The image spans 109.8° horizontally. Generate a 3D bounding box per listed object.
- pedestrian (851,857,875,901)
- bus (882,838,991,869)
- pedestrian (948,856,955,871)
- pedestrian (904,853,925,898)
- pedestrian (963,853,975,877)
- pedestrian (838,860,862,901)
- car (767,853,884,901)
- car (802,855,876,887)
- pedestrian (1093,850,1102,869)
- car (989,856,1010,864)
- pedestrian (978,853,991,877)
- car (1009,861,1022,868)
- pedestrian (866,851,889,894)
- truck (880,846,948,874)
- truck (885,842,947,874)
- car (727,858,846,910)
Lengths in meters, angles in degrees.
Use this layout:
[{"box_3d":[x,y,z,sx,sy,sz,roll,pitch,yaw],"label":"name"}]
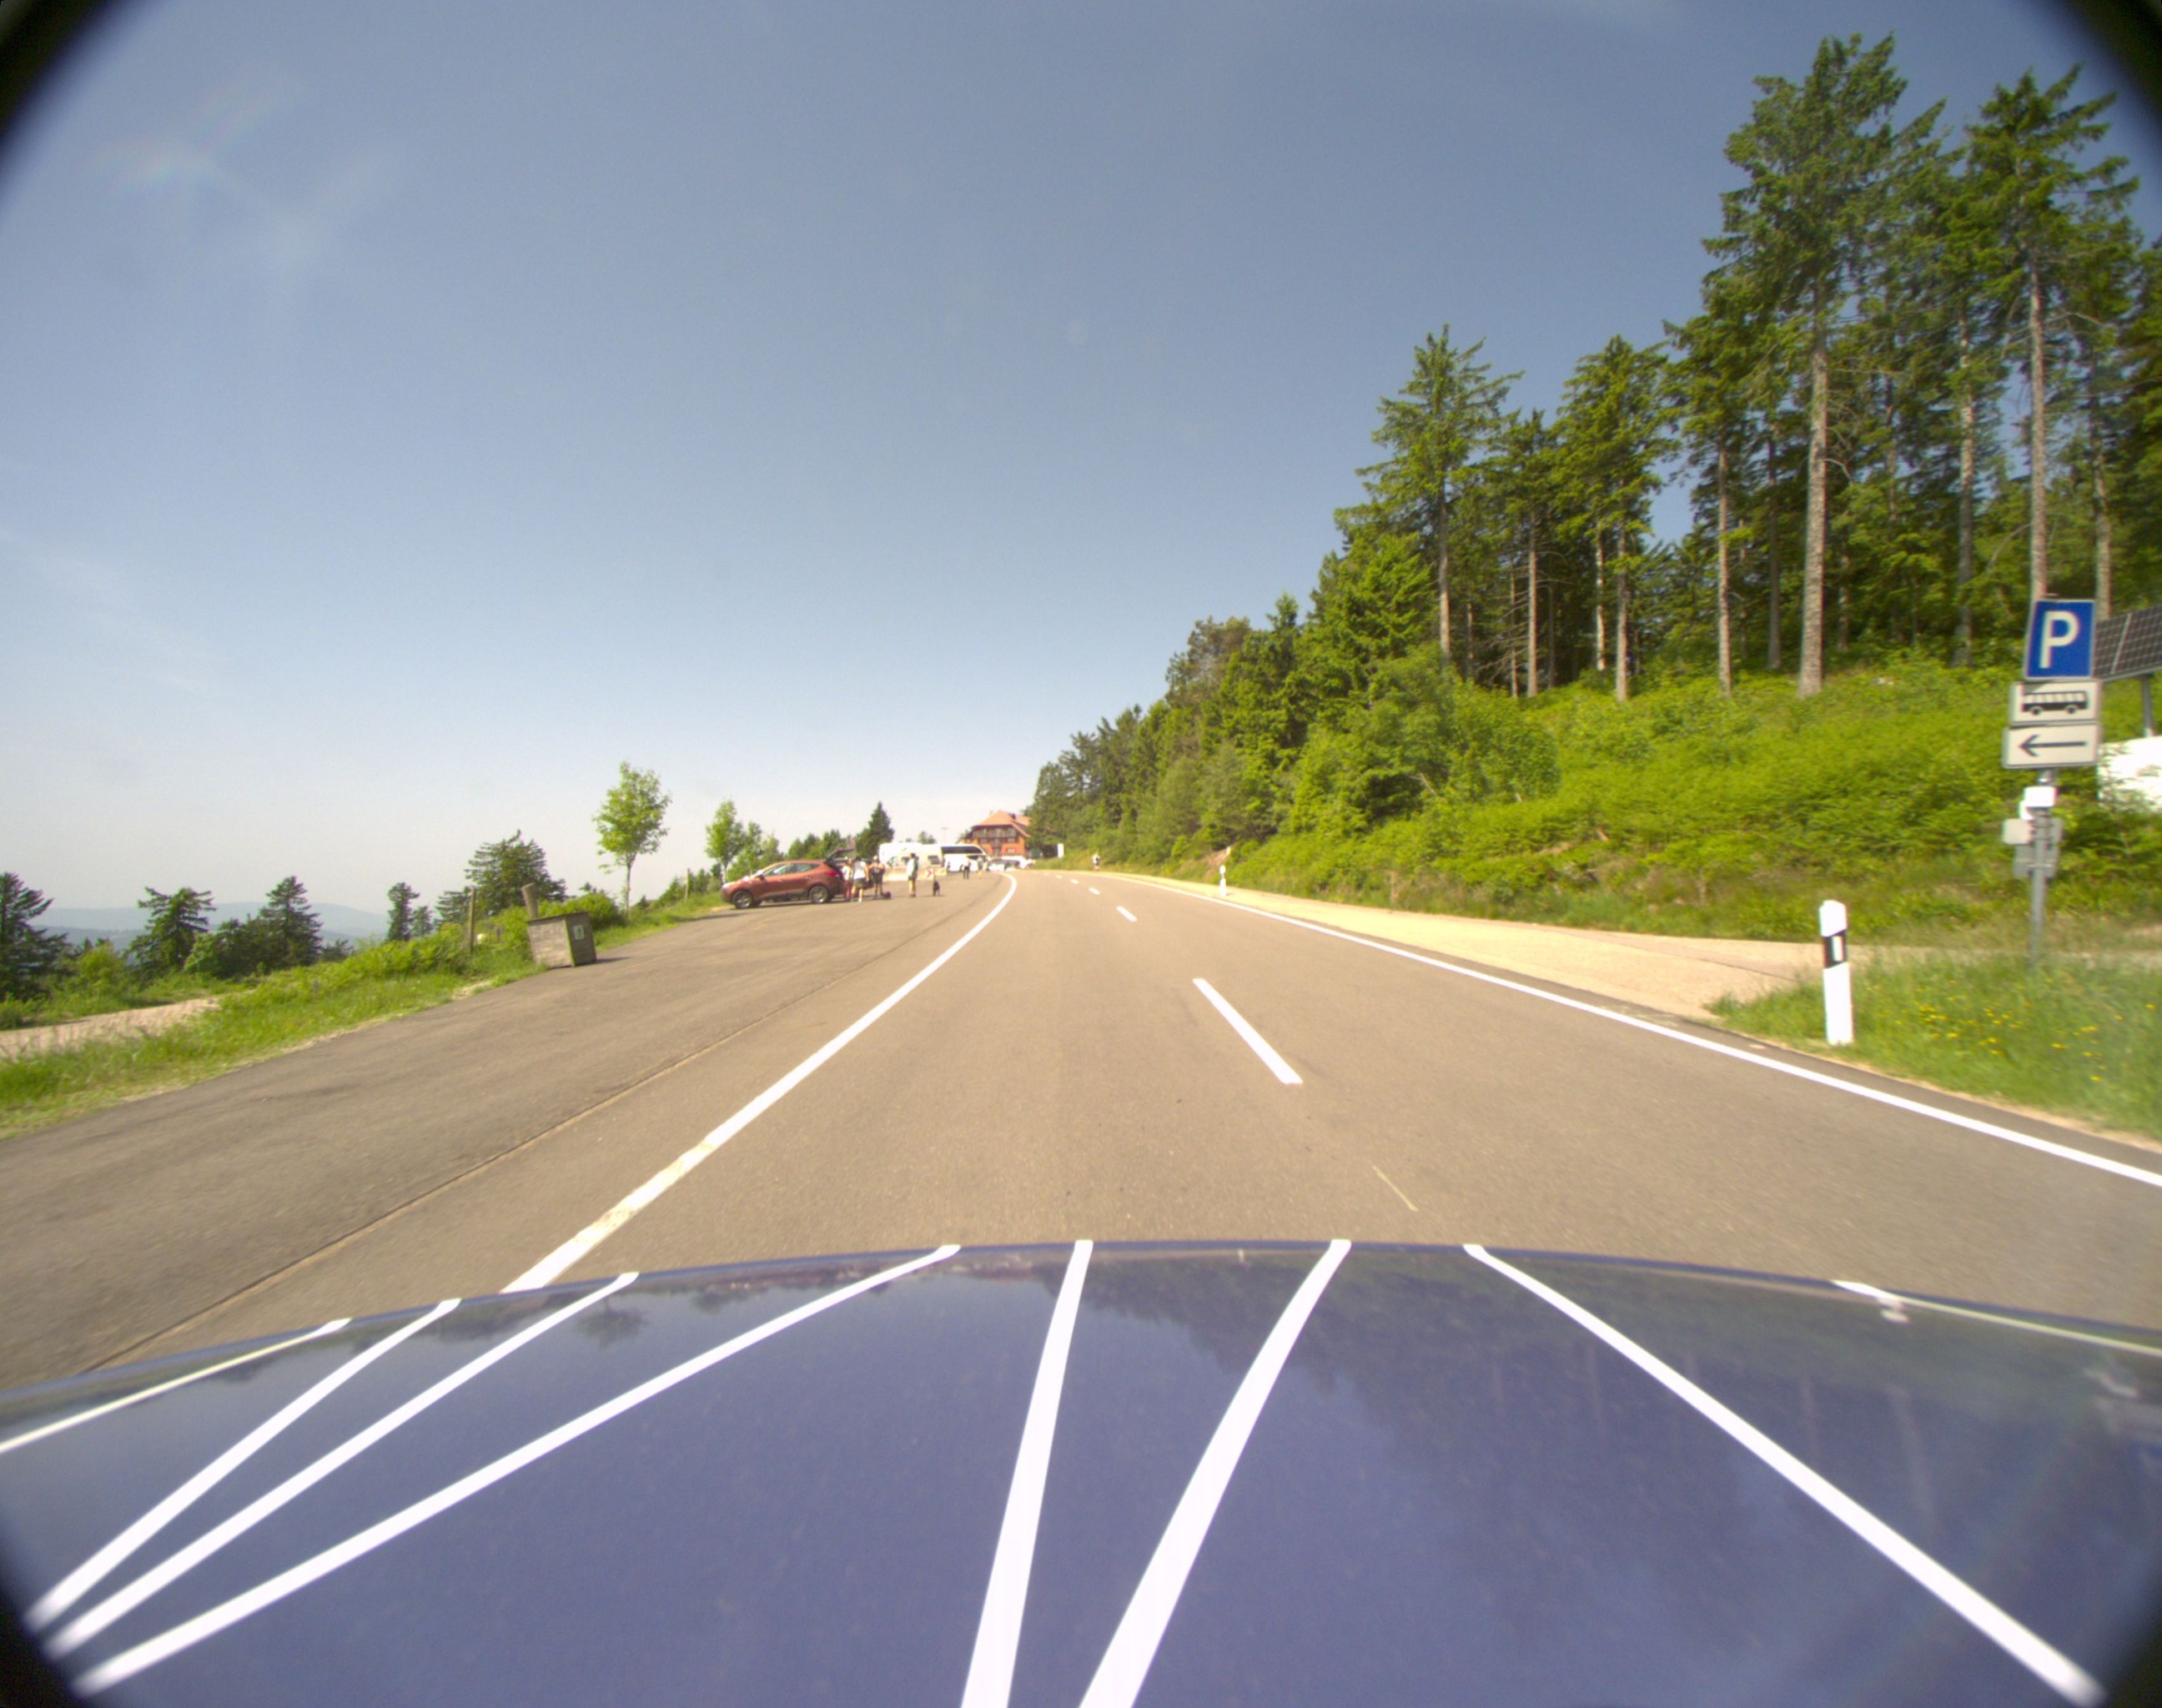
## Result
[{"box_3d":[-8.191,0.930,28.526,0.654,1.650,0.688,0,-1,6],"label":"pedestrian"},{"box_3d":[-17.554,-0.043,93.121,12.886,3.556,2.837,-1,0,-7],"label":"bus"},{"box_3d":[-14.840,1.063,87.234,0.631,1.747,0.628,-1,0,6],"label":"pedestrian"},{"box_3d":[-6.528,0.832,29.779,0.618,1.765,0.724,-1,1,0],"label":"pedestrian"},{"box_3d":[-8.197,0.797,55.668,0.666,1.730,0.895,-1,0,6],"label":"pedestrian"},{"box_3d":[-9.027,1.040,29.756,0.618,1.577,0.736,0,-1,12],"label":"pedestrian"},{"box_3d":[-10.618,0.934,31.850,4.277,1.784,1.891,-2,2,-6],"label":"car"},{"box_3d":[-14.663,1.018,46.204,4.000,1.637,1.599,-3,1,-11],"label":"car"},{"box_3d":[1.550,0.540,70.828,0.685,1.736,0.824,-1,0,-13],"label":"pedestrian"},{"box_3d":[-16.577,1.278,154.943,3.955,1.578,1.793,0,-1,18],"label":"car"},{"box_3d":[-7.107,0.796,55.802,0.755,1.750,0.776,-1,0,6],"label":"pedestrian"},{"box_3d":[-14.850,2.466,173.088,1.711,1.543,3.140,-1,-1,22],"label":"car"},{"box_3d":[-8.020,0.720,29.968,0.717,1.682,0.619,-1,1,0],"label":"pedestrian"},{"box_3d":[-16.280,0.586,74.553,6.280,2.575,2.339,-1,0,-7],"label":"truck"},{"box_3d":[-16.807,0.356,77.880,6.084,3.177,2.530,-1,0,-10],"label":"truck"},{"box_3d":[-10.817,1.077,28.152,3.830,1.651,1.651,-3,1,-12],"label":"car"}]
